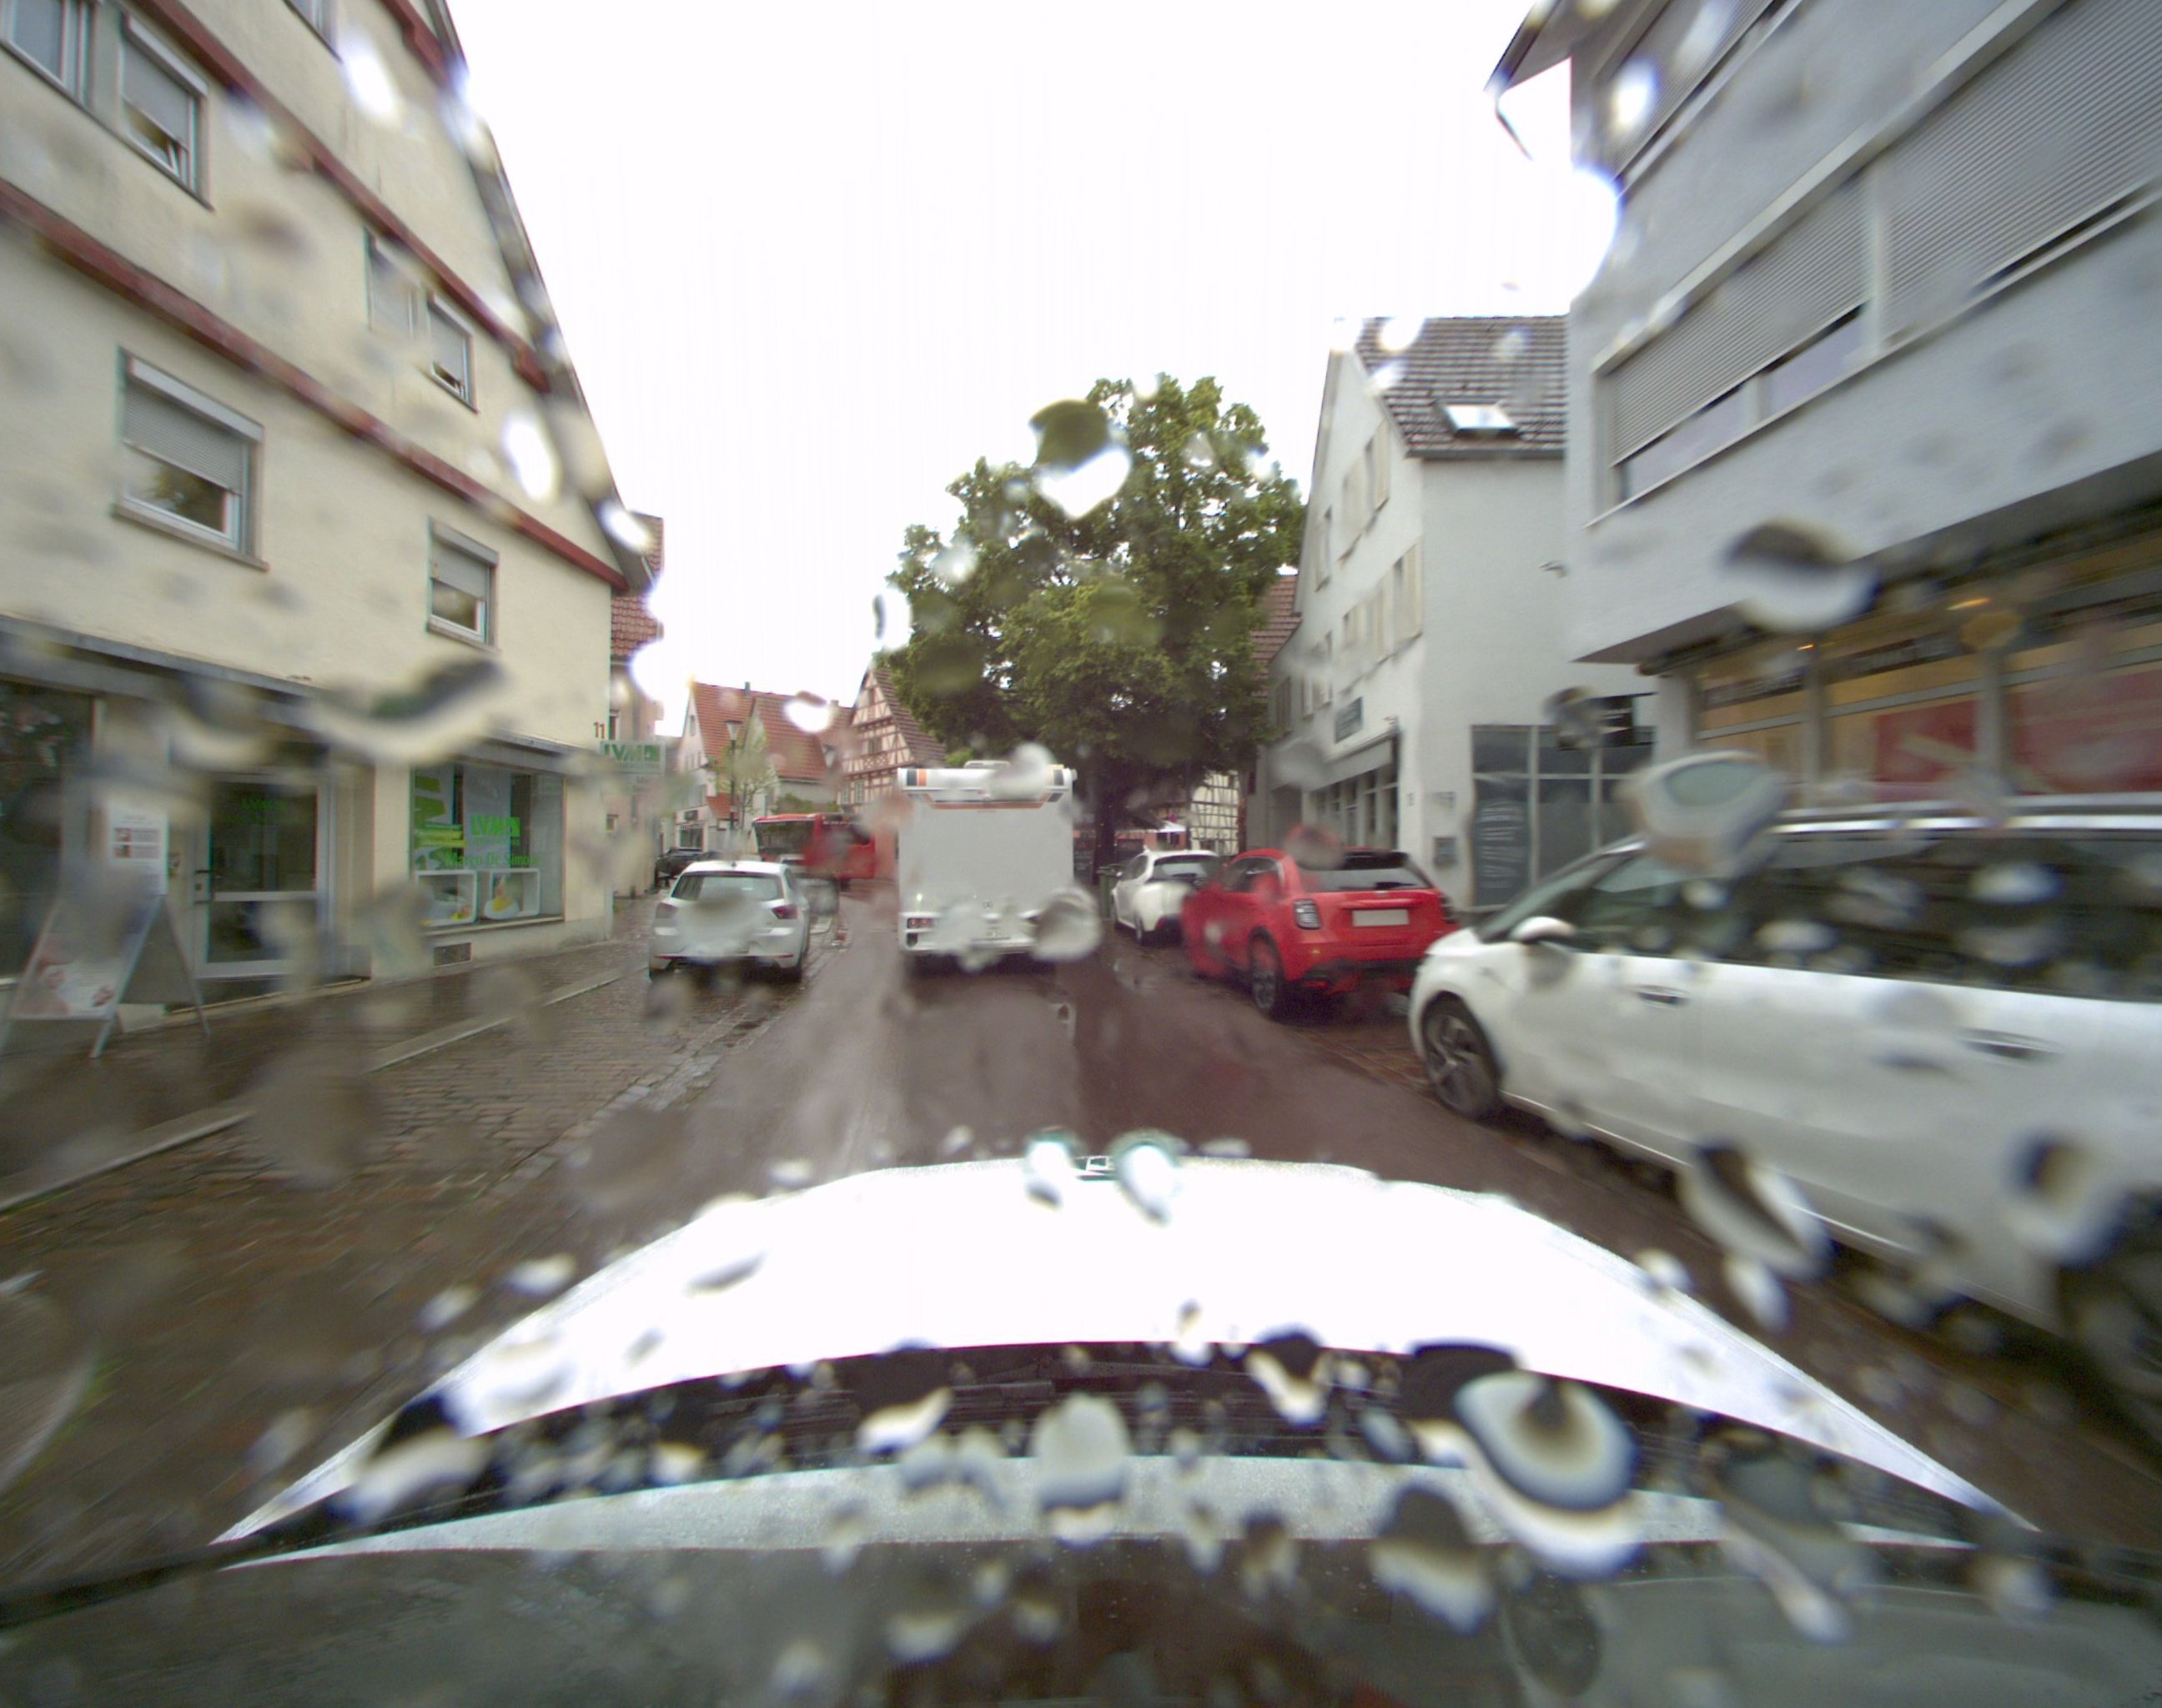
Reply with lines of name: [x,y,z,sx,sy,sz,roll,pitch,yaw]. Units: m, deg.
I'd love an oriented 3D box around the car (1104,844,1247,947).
car: [1.500,0.604,14.278,1.675,1.528,3.791,-1,1,-6]

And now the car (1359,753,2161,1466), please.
car: [3.107,0.582,3.421,1.776,1.631,4.454,0,0,-10]

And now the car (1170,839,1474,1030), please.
car: [2.232,0.652,8.641,1.676,1.529,3.789,-1,0,-8]

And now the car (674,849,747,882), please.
car: [-16.309,0.496,35.767,1.875,1.344,3.753,2,-2,-42]

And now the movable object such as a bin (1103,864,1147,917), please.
movable object such as a bin: [0.933,0.762,17.369,0.834,1.112,0.559,1,-1,-13]

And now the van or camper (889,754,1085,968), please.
van or camper: [-1.889,0.086,13.407,2.440,2.585,6.721,0,0,-13]

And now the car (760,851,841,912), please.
car: [-7.558,0.668,21.750,1.729,1.414,3.950,1,0,-24]

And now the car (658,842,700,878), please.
car: [-19.515,0.308,39.636,1.707,1.675,3.858,1,-1,-26]

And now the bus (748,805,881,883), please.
bus: [-12.473,-0.354,37.268,2.833,3.089,10.493,1,-1,-35]

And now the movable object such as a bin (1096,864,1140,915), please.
movable object such as a bin: [0.815,0.773,17.950,0.834,1.112,0.586,1,-1,-13]

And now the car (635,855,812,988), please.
car: [-4.632,0.767,11.079,1.726,1.414,3.957,2,0,-18]
